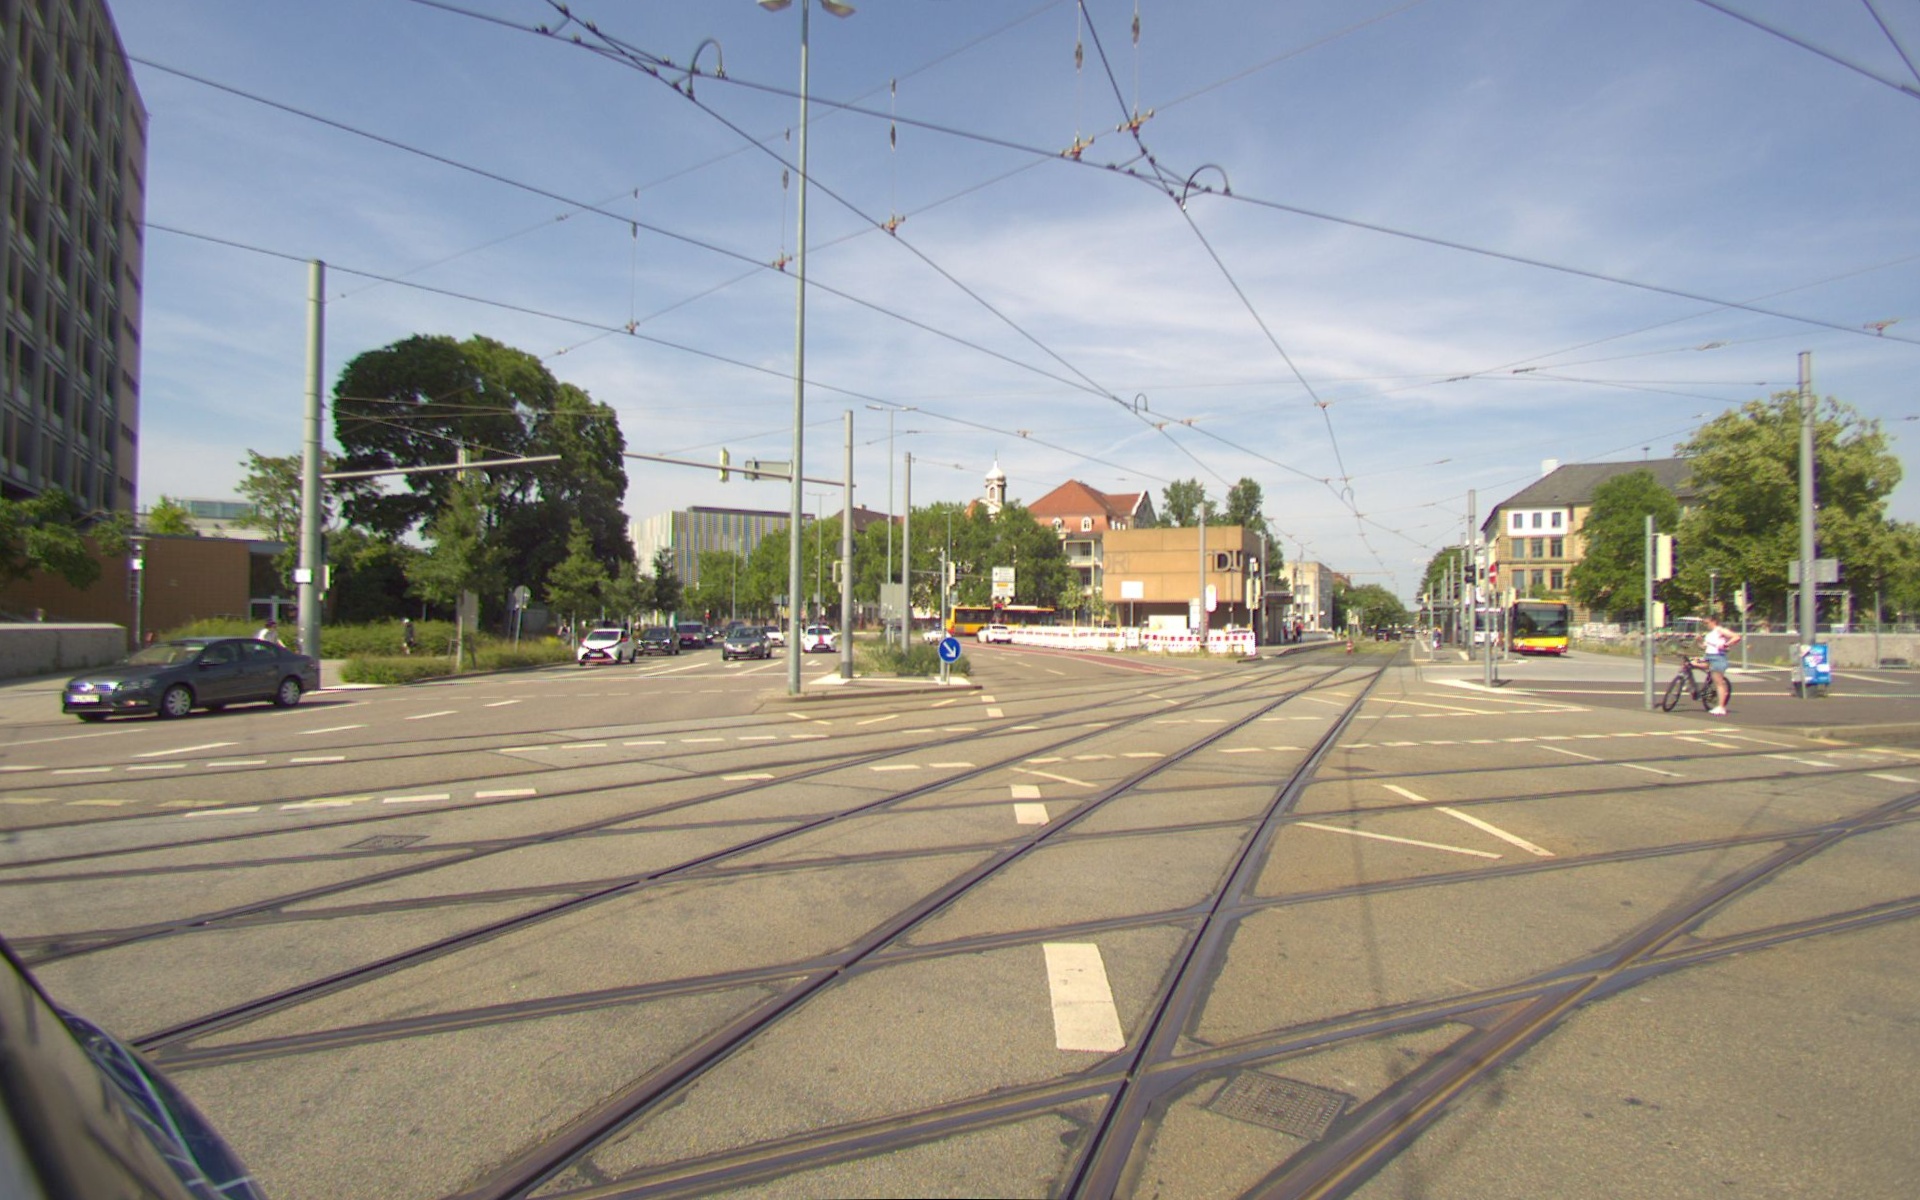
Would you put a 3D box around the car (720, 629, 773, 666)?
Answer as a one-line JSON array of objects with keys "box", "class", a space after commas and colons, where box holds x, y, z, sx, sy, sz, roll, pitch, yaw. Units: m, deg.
[{"box": [-9.295, 2.019, 44.298, 1.627, 1.435, 4.123, -2, -1, -4], "class": "car"}]

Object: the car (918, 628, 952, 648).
[{"box": [-1.779, 2.645, 71.542, 1.573, 1.296, 4.010, -2, -1, -13], "class": "car"}]

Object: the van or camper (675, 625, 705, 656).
[{"box": [-17.606, 2.611, 65.869, 1.701, 1.902, 4.937, -2, -1, -17], "class": "van or camper"}]

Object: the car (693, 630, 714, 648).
[{"box": [-19.557, 2.953, 77.134, 1.466, 1.304, 3.496, 0, -2, -16], "class": "car"}]

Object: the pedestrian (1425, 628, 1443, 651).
[{"box": [28.467, 2.372, 60.791, 0.531, 1.377, 0.912, -2, -1, -2], "class": "pedestrian"}]

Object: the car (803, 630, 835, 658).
[{"box": [-7.519, 2.302, 53.998, 1.630, 1.425, 3.869, 0, -2, -8], "class": "car"}]

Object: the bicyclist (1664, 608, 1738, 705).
[{"box": [13.485, 1.019, 18.438, 0.764, 1.697, 0.753, 2, -2, -12], "class": "bicyclist"}]

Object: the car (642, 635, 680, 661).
[{"box": [-15.886, 2.522, 53.877, 1.388, 1.305, 3.587, 2, -2, -8], "class": "car"}]

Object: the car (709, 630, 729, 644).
[{"box": [-24.242, 3.747, 101.902, 1.465, 1.303, 3.497, -2, -1, -21], "class": "car"}]

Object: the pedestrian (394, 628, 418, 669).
[{"box": [-23.244, 2.016, 42.460, 0.584, 1.676, 0.732, 1, -1, -2], "class": "pedestrian"}]

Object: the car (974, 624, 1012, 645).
[{"box": [2.359, 2.528, 73.947, 1.773, 1.431, 4.010, -2, -1, -13], "class": "car"}]

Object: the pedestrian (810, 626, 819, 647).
[{"box": [-11.606, 2.913, 80.571, 0.634, 1.686, 0.752, 0, -2, -3], "class": "pedestrian"}]

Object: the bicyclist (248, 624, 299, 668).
[{"box": [-17.076, 1.129, 25.184, 0.913, 1.036, 0.709, 2, -1, 32], "class": "bicyclist"}]

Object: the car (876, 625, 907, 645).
[{"box": [-4.889, 2.487, 71.810, 1.573, 1.296, 4.010, -2, -1, -13], "class": "car"}]

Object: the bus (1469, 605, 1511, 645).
[{"box": [47.315, 2.257, 90.560, 2.743, 3.348, 11.687, -1, -2, 25], "class": "bus"}]

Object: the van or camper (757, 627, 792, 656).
[{"box": [-12.645, 2.765, 68.613, 1.888, 1.902, 4.936, 0, -2, -16], "class": "van or camper"}]

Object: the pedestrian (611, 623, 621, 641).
[{"box": [-27.064, 2.516, 79.612, 0.632, 1.457, 0.571, 2, -1, -23], "class": "pedestrian"}]

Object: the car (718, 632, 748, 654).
[{"box": [-19.715, 3.706, 87.788, 1.930, 1.807, 4.013, 1, -2, -21], "class": "car"}]

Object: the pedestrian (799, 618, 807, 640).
[{"box": [-12.332, 2.278, 79.707, 0.534, 1.686, 0.752, 0, -2, -2], "class": "pedestrian"}]

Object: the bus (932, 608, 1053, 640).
[{"box": [3.316, 2.362, 100.226, 11.937, 3.062, 2.806, 1, -2, -24], "class": "bus"}]

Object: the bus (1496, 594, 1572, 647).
[{"box": [32.566, 1.063, 57.816, 2.743, 2.703, 11.688, -2, -1, 25], "class": "bus"}]

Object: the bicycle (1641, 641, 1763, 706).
[{"box": [13.498, 1.332, 18.423, 1.818, 1.092, 0.753, 2, -2, -12], "class": "bicycle"}]

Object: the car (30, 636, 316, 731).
[{"box": [-14.427, 1.459, 18.950, 1.615, 1.446, 4.522, -1, -1, 5], "class": "car"}]

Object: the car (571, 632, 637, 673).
[{"box": [-14.502, 2.093, 41.434, 1.657, 1.486, 3.764, -2, -1, -5], "class": "car"}]
